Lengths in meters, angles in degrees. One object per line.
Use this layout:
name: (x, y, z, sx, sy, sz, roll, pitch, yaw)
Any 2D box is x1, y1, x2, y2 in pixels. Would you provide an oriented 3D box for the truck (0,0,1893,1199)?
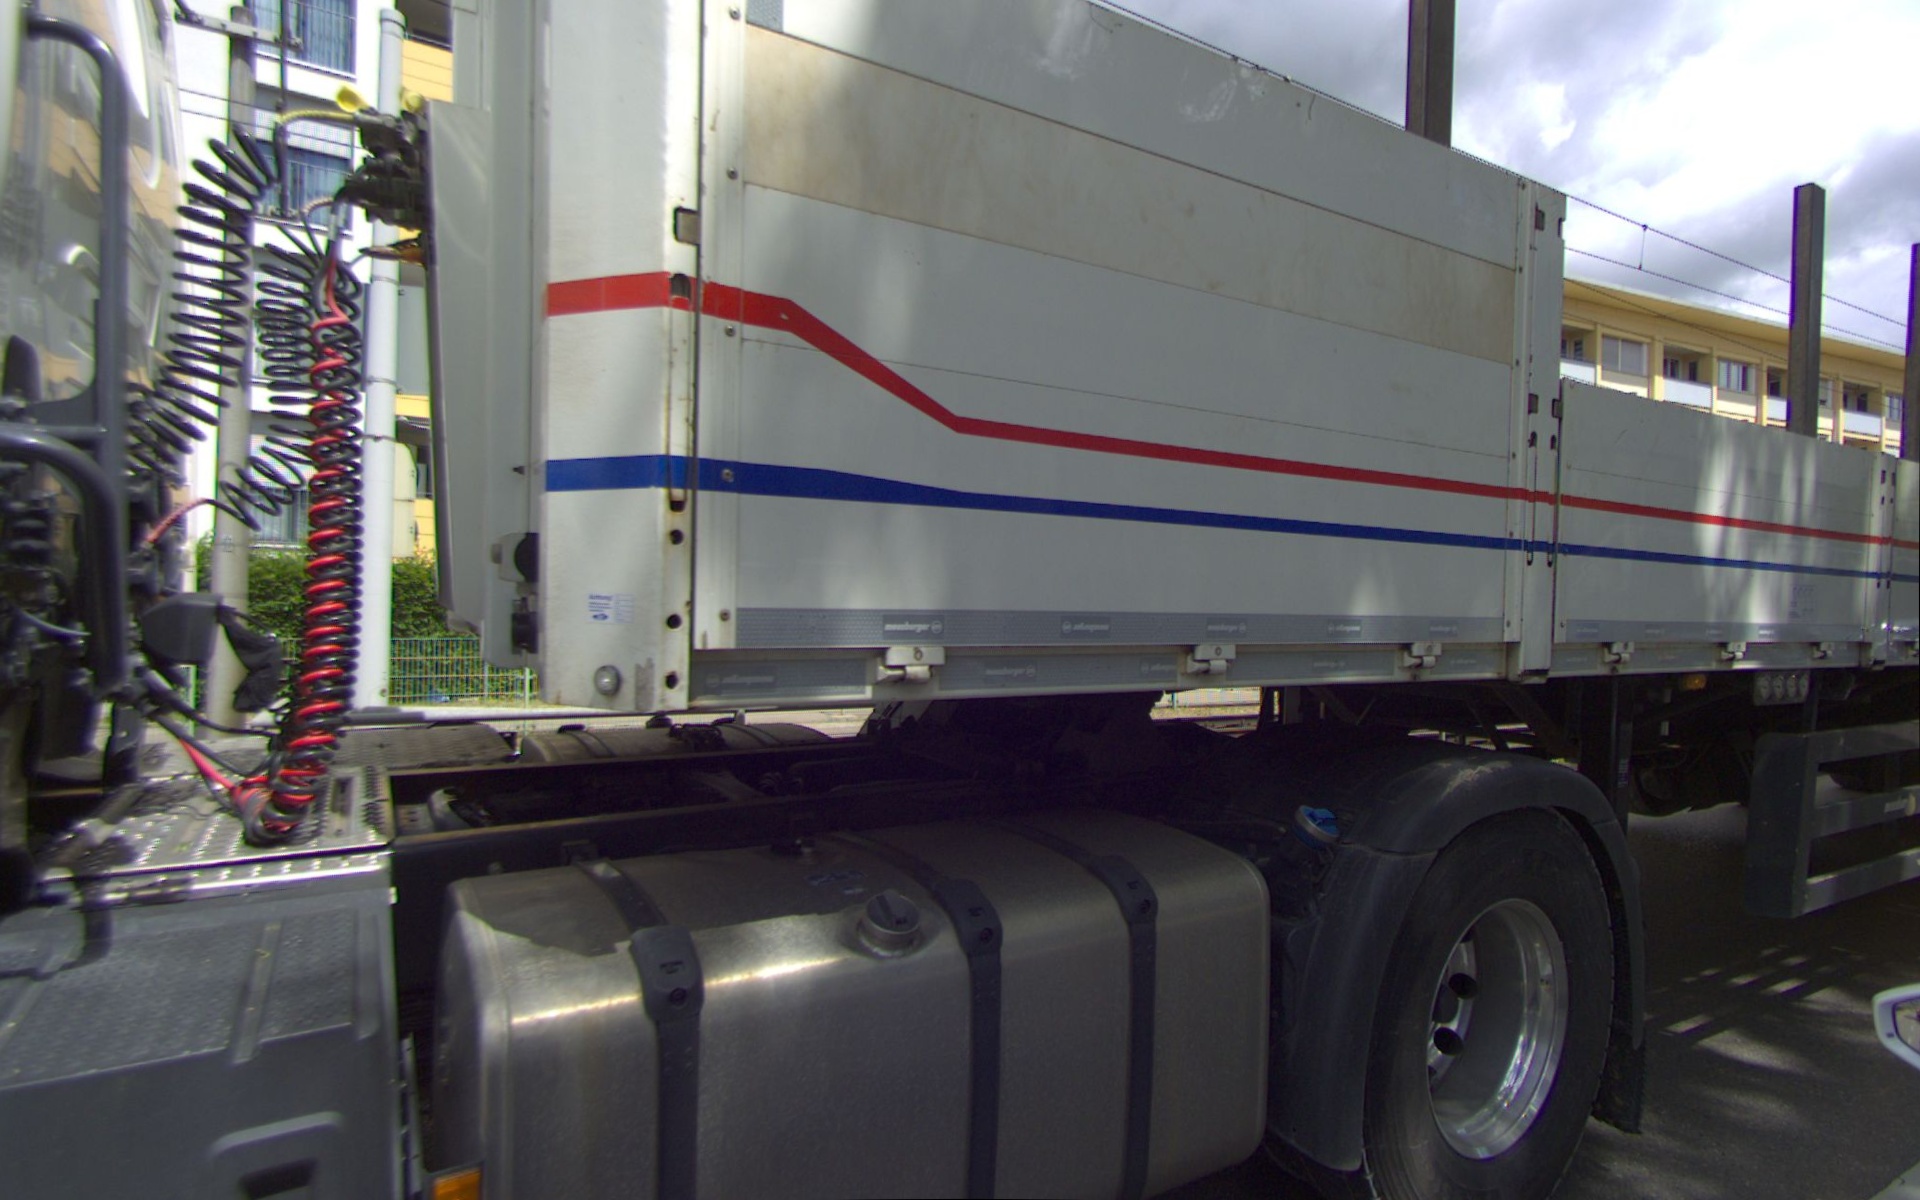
truck: (-0.694, -0.364, 2.434, 6.073, 3.628, 2.685, 1, 1, -31)

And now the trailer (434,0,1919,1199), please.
trailer: (4.723, -0.285, 5.653, 13.515, 3.628, 2.685, 1, 1, -31)
